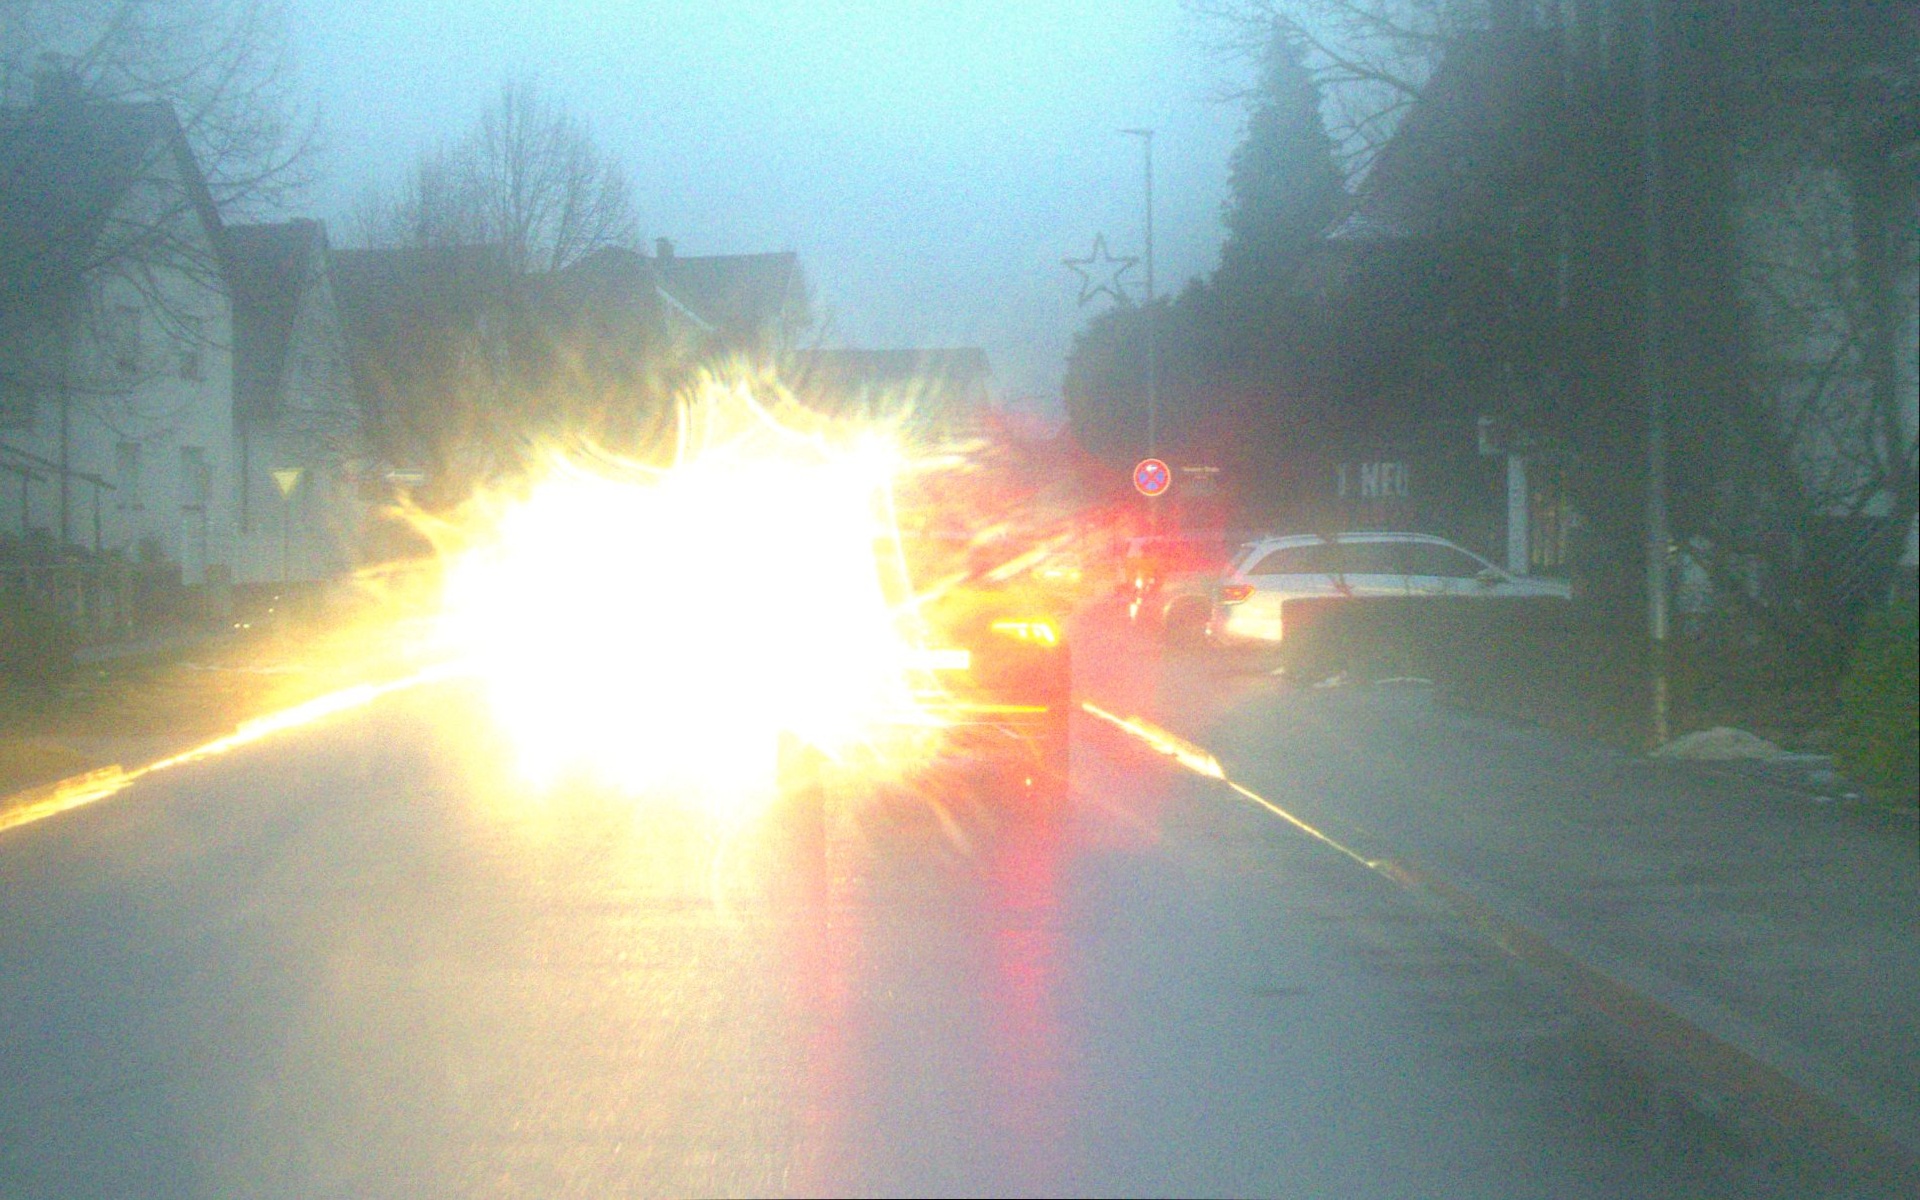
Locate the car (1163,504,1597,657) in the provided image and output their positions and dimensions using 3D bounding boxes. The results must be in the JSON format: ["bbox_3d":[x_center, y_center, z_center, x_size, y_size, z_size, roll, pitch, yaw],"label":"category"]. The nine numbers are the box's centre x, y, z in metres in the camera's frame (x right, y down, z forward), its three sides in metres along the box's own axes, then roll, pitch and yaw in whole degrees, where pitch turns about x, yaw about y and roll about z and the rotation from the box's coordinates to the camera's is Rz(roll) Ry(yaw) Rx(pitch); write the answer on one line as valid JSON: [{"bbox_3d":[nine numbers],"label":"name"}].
[{"bbox_3d":[4.679,-0.234,38.812,4.734,1.624,1.907,-1,1,4],"label":"car"}]

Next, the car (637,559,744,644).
[{"bbox_3d":[-4.925,0.000,63.304,1.704,1.436,4.425,-2,1,-2],"label":"car"}]

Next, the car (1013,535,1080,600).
[{"bbox_3d":[2.802,-1.069,110.470,1.994,2.007,4.000,-1,1,4],"label":"car"}]

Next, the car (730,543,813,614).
[{"bbox_3d":[-4.537,-0.547,83.264,1.814,1.627,4.225,-2,1,-1],"label":"car"}]

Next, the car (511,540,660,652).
[{"bbox_3d":[-5.178,-0.081,47.953,1.704,1.436,4.000,-2,1,-2],"label":"car"}]

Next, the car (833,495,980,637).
[{"bbox_3d":[-0.758,-0.511,51.232,1.993,2.007,4.000,1,1,2],"label":"car"}]

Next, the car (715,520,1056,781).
[{"bbox_3d":[-0.502,0.266,22.229,1.993,1.520,4.000,0,1,-2],"label":"car"}]

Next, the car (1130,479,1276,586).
[{"bbox_3d":[3.792,-1.061,54.373,1.893,1.549,4.756,-2,1,0],"label":"car"}]

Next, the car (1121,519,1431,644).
[{"bbox_3d":[4.374,-0.252,48.046,4.101,1.700,2.000,0,0,-1],"label":"car"}]
